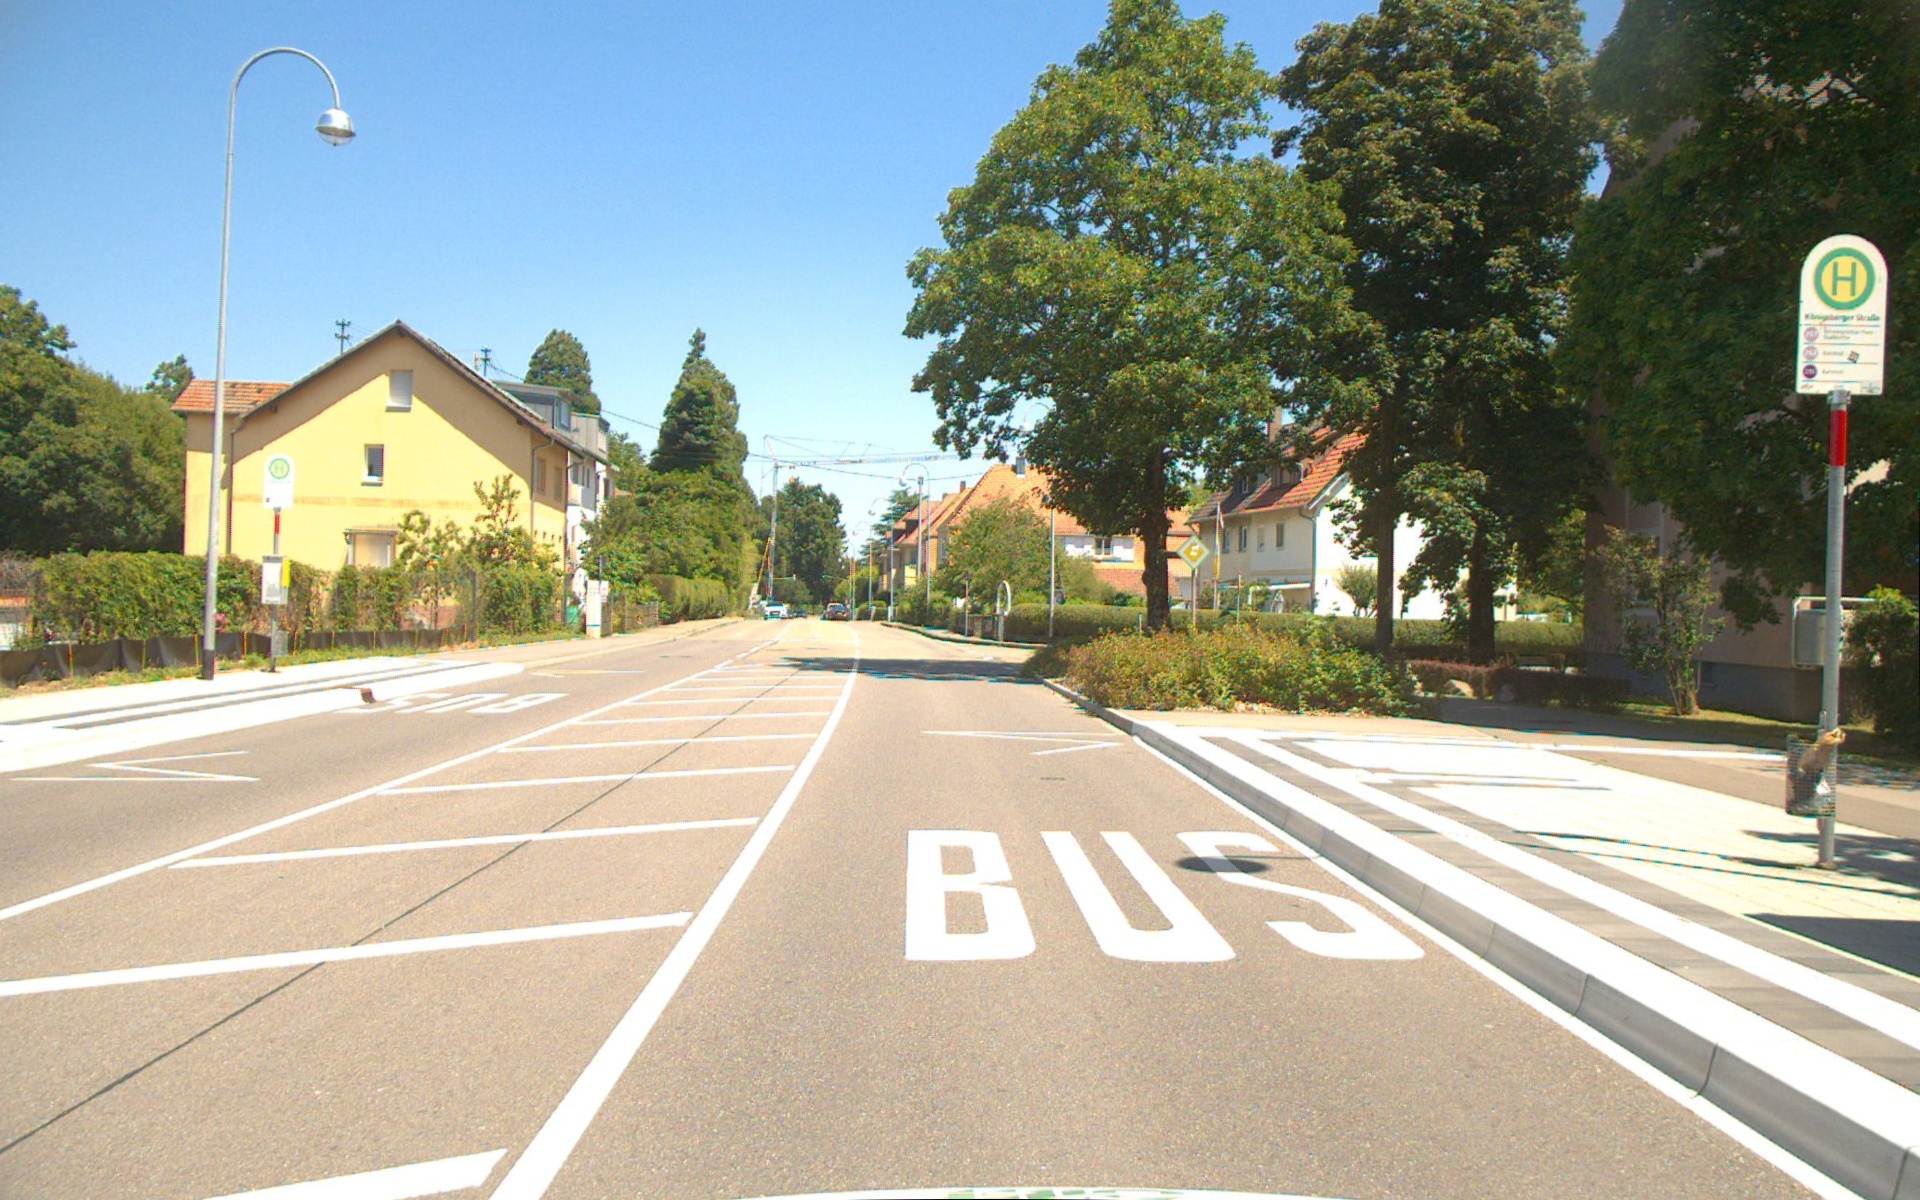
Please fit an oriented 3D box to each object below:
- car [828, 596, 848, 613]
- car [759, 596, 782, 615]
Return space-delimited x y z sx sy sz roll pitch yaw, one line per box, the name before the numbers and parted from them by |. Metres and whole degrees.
car | -11.514 0.442 156.124 1.660 1.444 4.543 2 -1 -7
car | -14.835 0.422 129.890 1.647 1.396 4.202 0 0 -5
